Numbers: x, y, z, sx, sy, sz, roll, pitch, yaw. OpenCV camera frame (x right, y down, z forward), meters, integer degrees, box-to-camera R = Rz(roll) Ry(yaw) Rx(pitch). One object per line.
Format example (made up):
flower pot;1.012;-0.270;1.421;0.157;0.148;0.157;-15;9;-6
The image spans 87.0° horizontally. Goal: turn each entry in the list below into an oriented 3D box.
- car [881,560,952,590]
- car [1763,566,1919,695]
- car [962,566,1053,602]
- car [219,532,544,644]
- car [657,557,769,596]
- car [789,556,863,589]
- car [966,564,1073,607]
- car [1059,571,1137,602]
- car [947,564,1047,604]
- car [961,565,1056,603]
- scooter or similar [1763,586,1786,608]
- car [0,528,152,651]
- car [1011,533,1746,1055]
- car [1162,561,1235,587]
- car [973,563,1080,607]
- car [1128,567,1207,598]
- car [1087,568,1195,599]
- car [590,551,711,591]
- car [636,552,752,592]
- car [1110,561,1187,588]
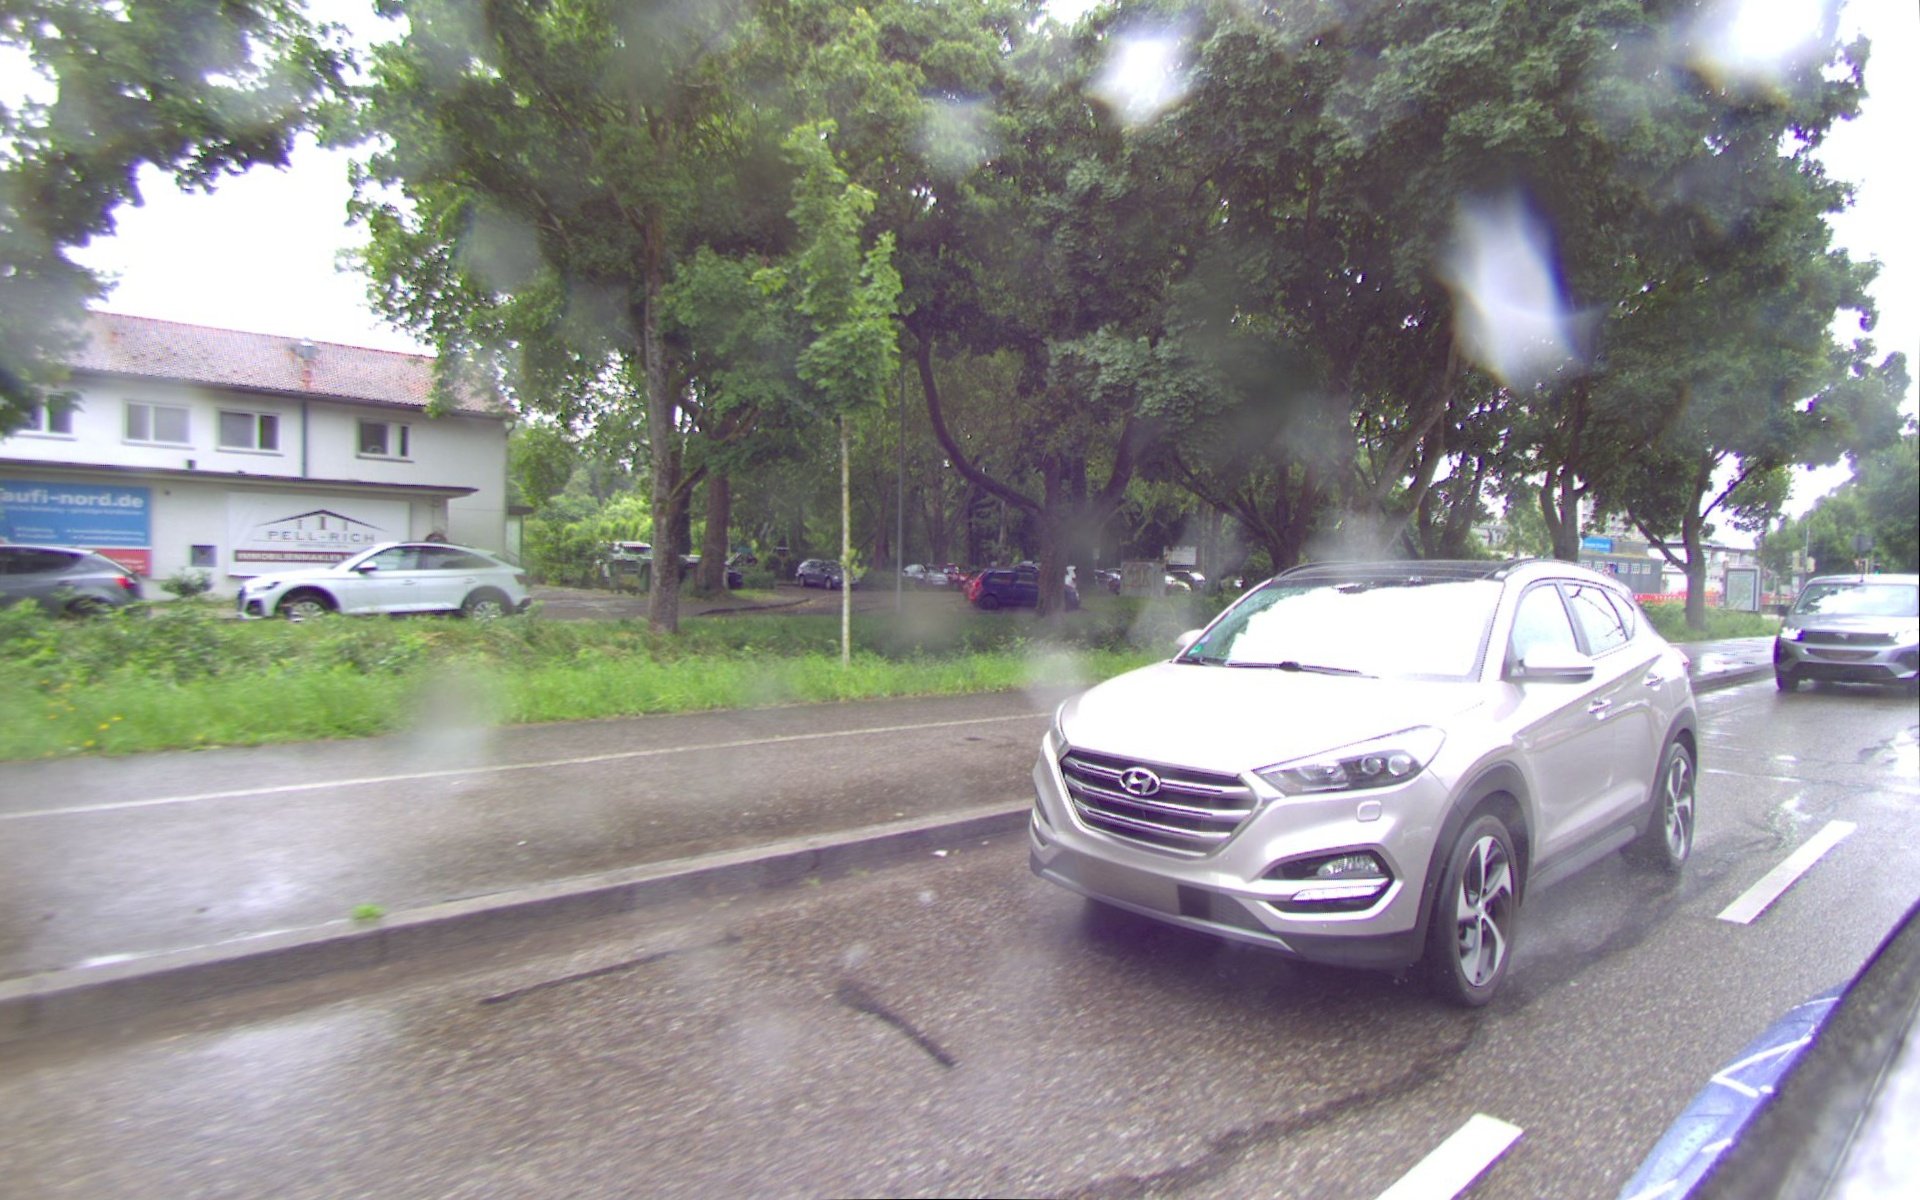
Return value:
car;-2.459;-1.377;56.697;1.865;1.630;4.294;-1;1;-37
car;14.720;0.396;16.259;4.481;1.818;1.998;-1;1;-40
car;2.039;-0.663;43.007;3.691;1.467;1.599;0;0;10
car;-10.244;-0.264;18.151;4.794;1.738;1.998;-1;3;-41
car;-9.980;-0.940;40.994;4.039;1.519;1.757;-1;1;-37
car;-6.951;-1.392;52.218;1.885;1.630;4.294;-1;1;-37
car;2.052;-0.514;35.667;3.681;1.467;1.670;0;0;1
car;6.663;-0.664;49.208;1.639;1.467;3.720;-1;1;-37
car;1.355;-0.595;38.100;3.681;1.467;1.670;0;0;1
car;1.983;-0.637;40.967;3.691;1.467;1.665;0;0;10
scooter or similar;46.463;-0.171;57.734;0.315;1.245;0.961;0;0;-33
car;-14.615;-0.181;14.595;4.561;1.738;1.998;-1;3;-41
car;2.394;0.566;5.236;4.122;1.630;1.888;-1;1;-41
car;15.885;-1.683;67.624;1.891;1.651;4.597;-1;1;-38
car;2.141;-0.475;32.451;3.329;1.369;1.522;0;0;6
car;10.894;-0.911;53.406;1.845;1.544;4.003;-1;1;-31
car;9.012;-0.824;50.842;2.127;1.467;5.415;-1;1;-36
car;-11.282;-1.036;37.022;3.931;1.403;1.586;-1;1;-41
car;-9.239;-0.951;35.275;3.638;1.332;1.574;-1;1;-42
car;12.063;-1.613;64.821;4.586;1.603;1.896;0;1;44
